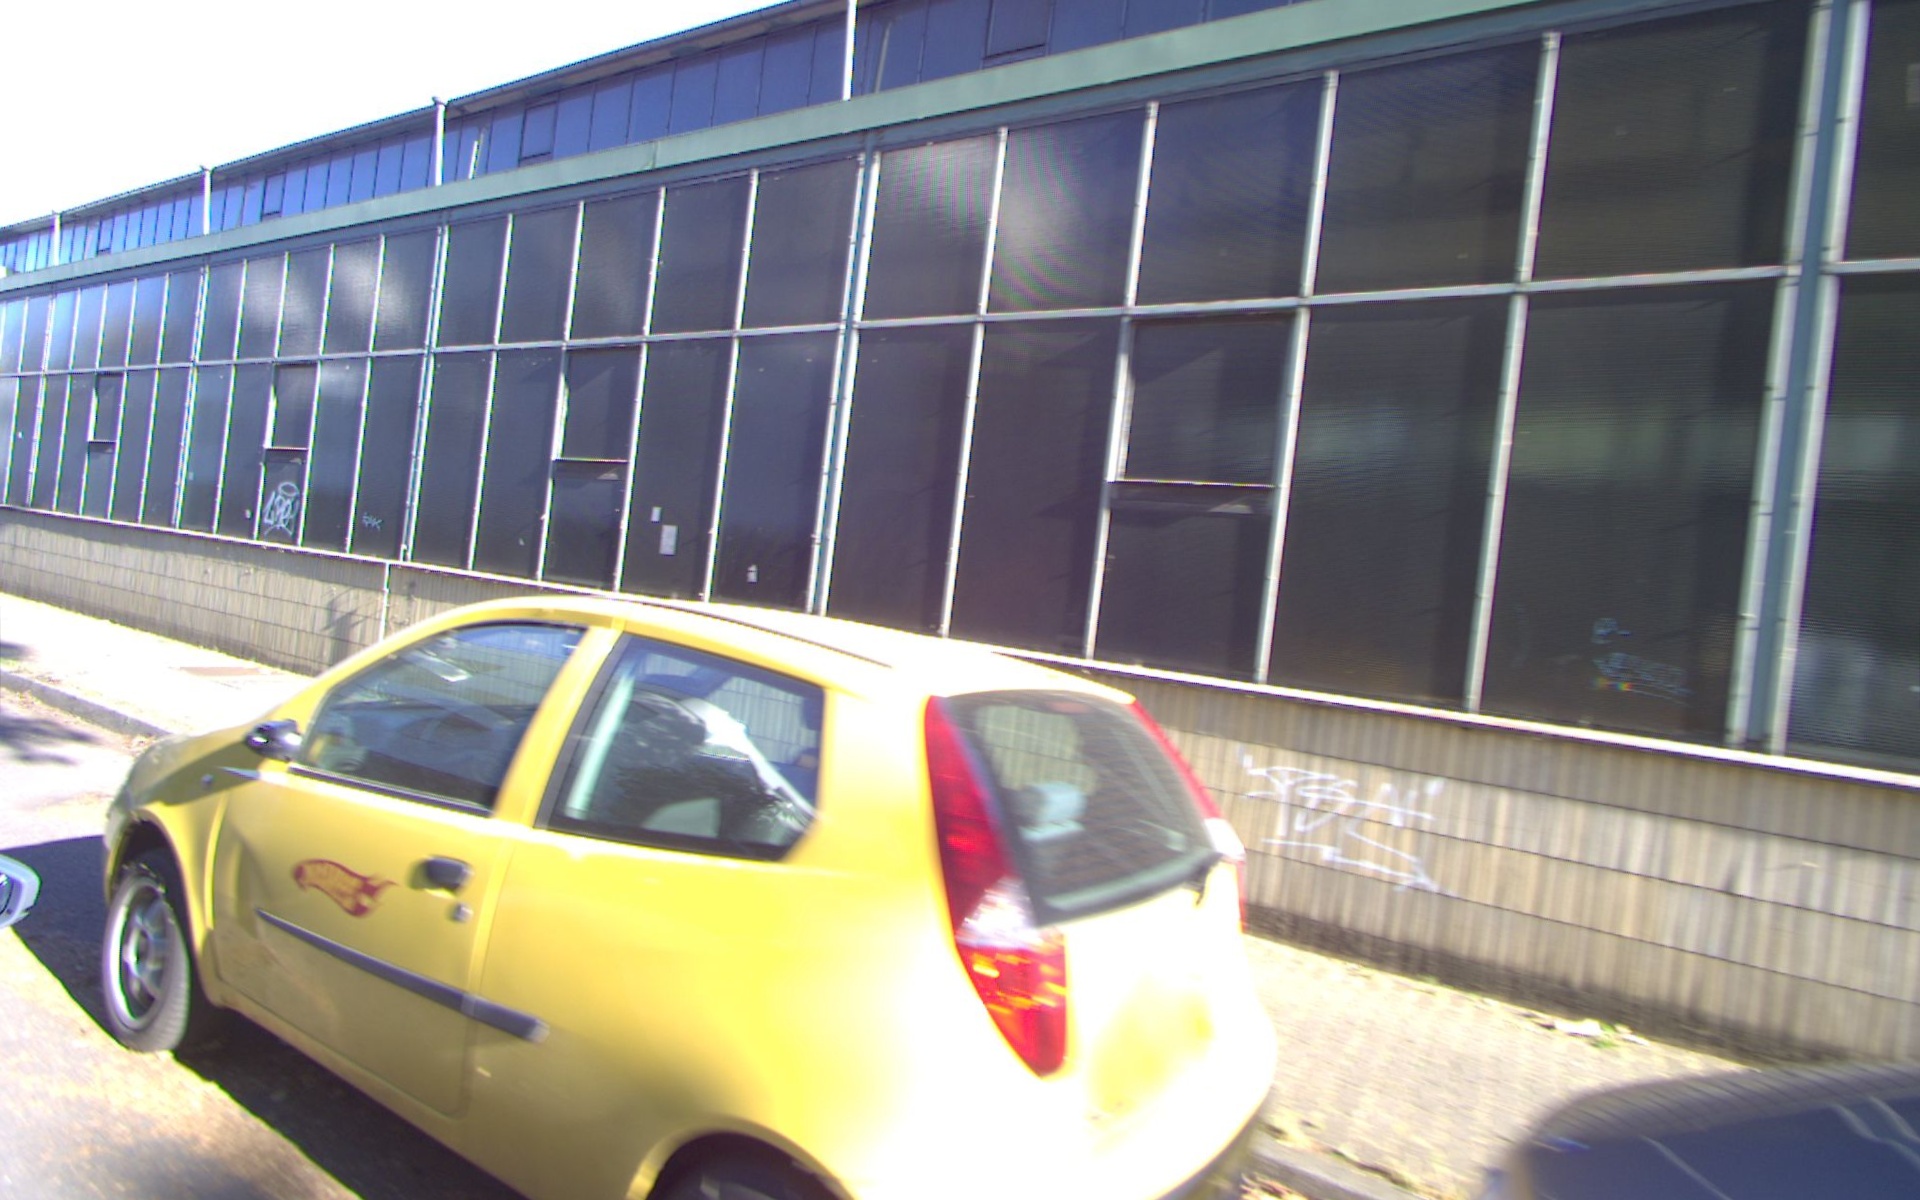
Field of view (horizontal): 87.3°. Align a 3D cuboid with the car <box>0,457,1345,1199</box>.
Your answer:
[{"bbox_3d":[-1.106,0.617,3.096,3.934,1.653,1.755,6,-3,30],"label":"car"}]

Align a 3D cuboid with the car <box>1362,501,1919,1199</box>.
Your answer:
[{"bbox_3d":[2.590,1.004,0.560,4.238,1.653,1.754,6,-3,32],"label":"car"}]
